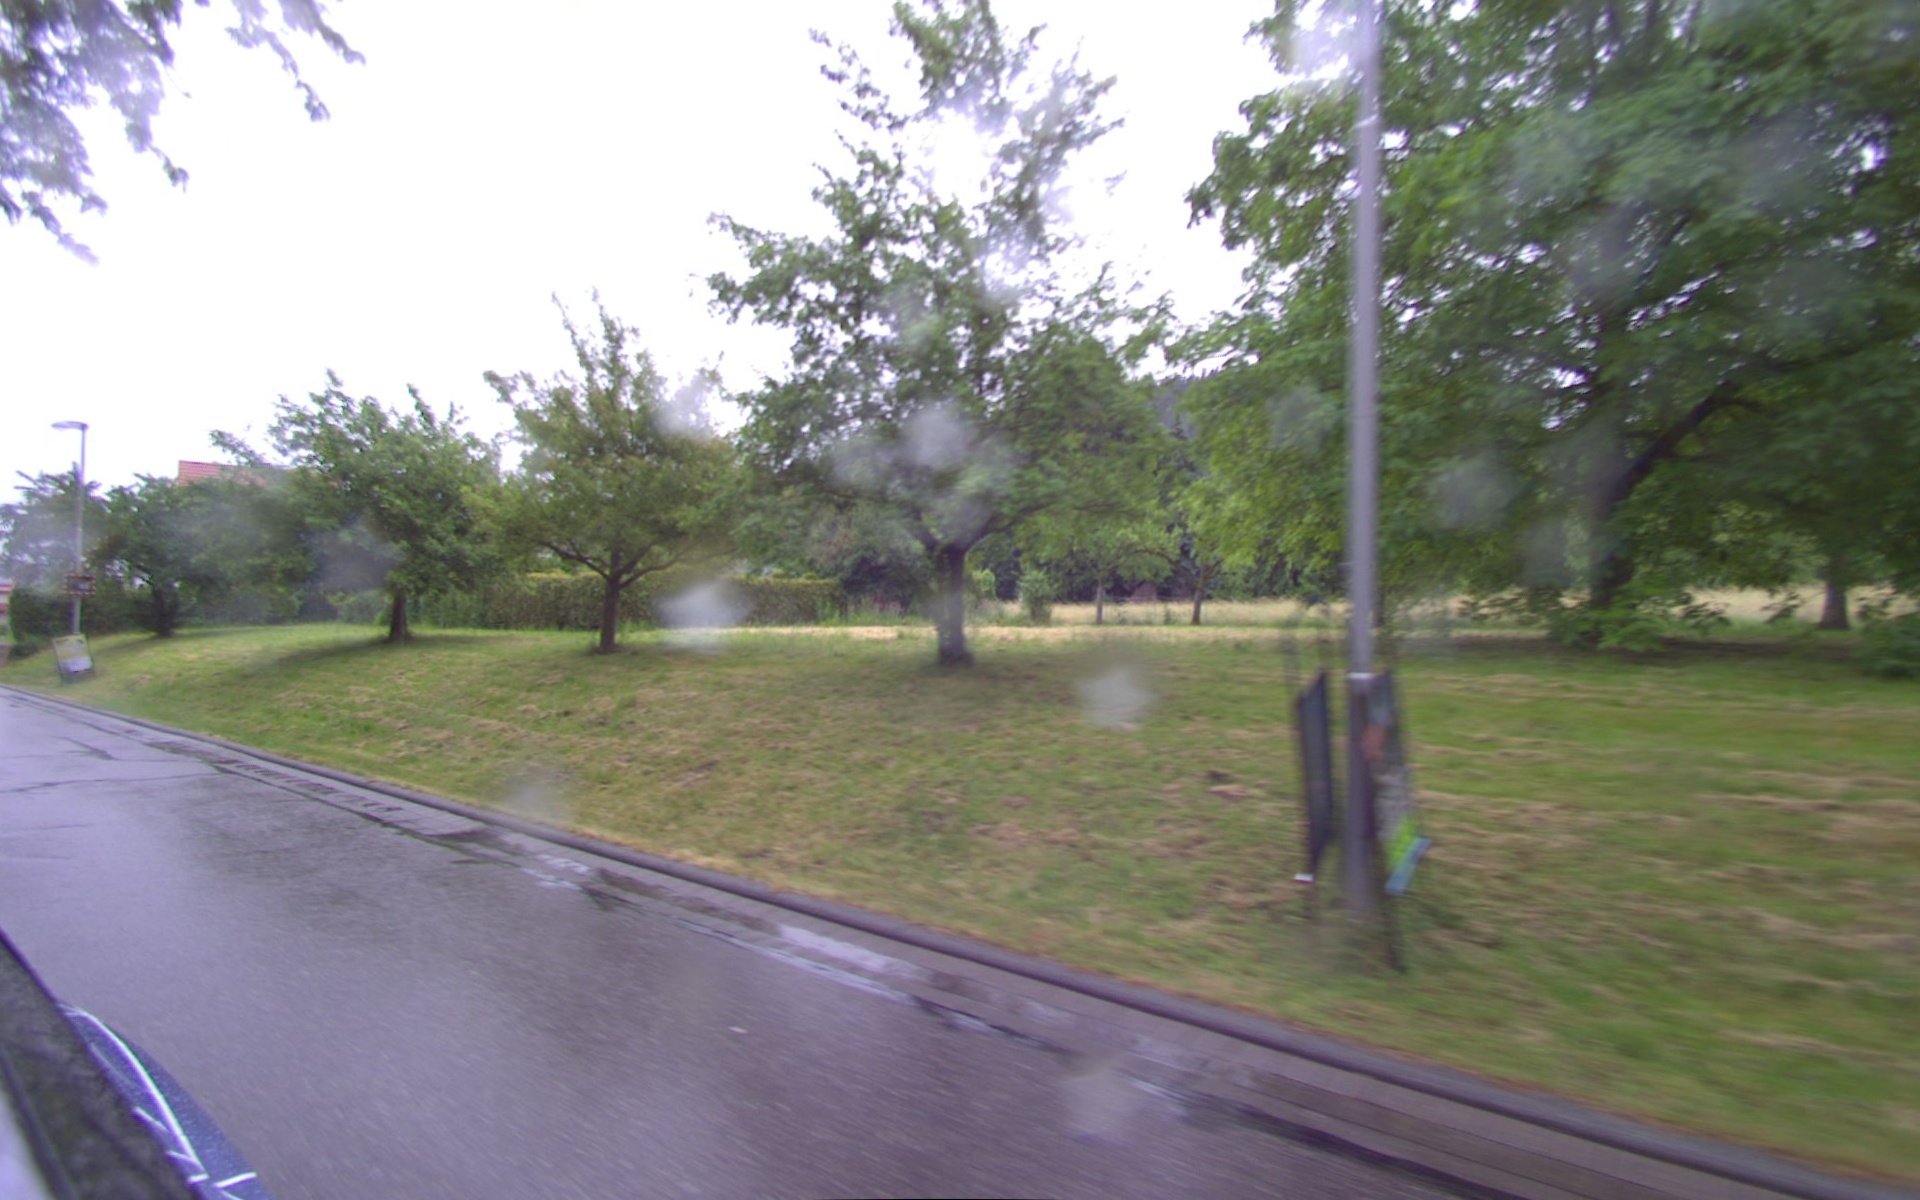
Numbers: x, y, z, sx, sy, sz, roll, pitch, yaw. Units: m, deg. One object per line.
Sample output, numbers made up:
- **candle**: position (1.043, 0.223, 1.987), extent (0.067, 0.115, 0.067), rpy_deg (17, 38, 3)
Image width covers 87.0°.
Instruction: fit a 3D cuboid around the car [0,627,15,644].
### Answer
- **car**: position (-93.348, 3.419, 97.707), extent (3.872, 1.587, 1.874), rpy_deg (-1, 0, 28)
